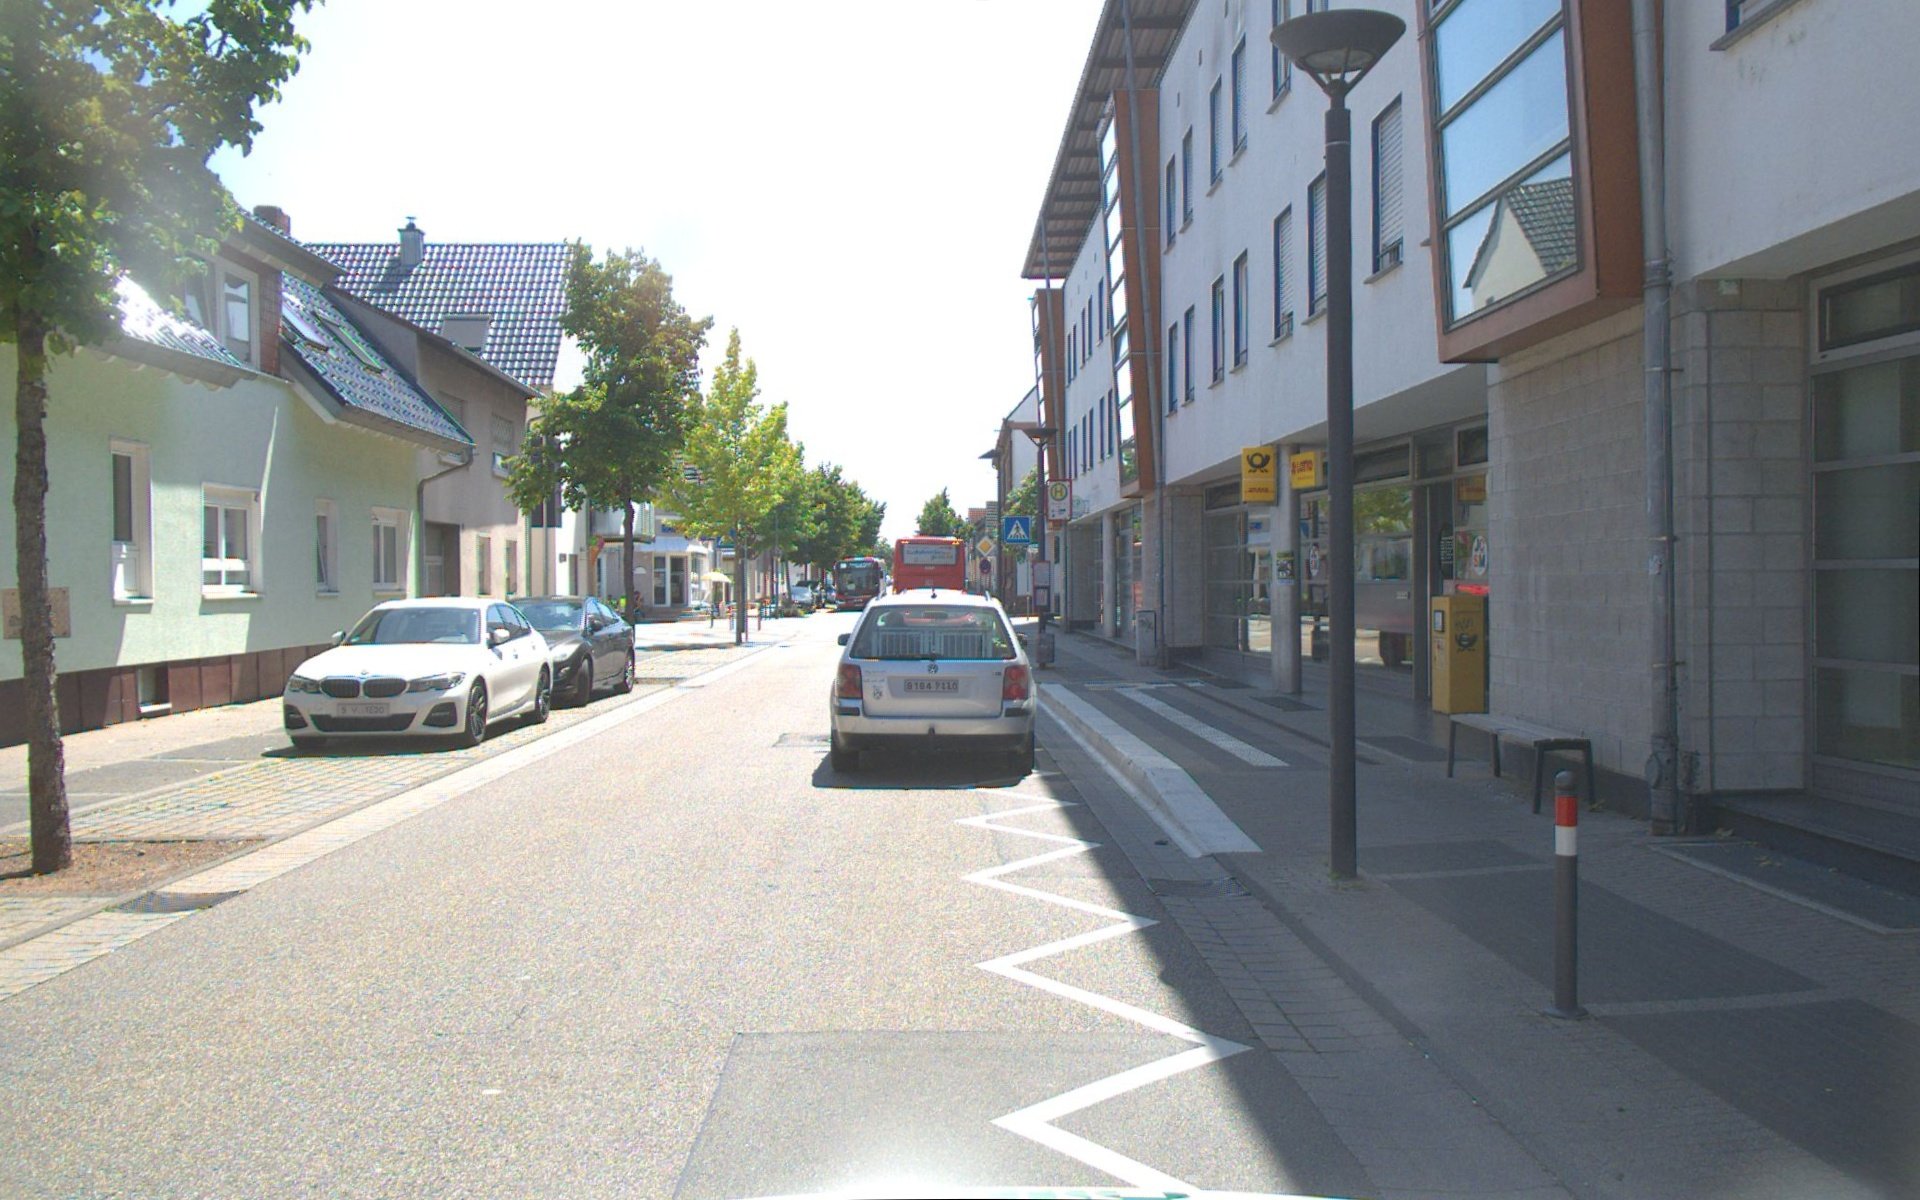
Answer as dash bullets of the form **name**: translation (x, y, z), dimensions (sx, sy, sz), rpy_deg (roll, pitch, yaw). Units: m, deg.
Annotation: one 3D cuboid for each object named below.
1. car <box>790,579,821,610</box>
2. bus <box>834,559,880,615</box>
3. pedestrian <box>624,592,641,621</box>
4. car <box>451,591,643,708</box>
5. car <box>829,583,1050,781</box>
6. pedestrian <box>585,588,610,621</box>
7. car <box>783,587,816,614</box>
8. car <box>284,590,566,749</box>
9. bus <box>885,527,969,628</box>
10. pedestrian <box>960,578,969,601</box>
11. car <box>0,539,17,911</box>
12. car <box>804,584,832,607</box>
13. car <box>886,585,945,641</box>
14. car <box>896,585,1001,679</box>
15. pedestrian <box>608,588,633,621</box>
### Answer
- **car**: translation (-9.656, -0.341, 103.636), dimensions (1.729, 1.870, 3.787), rpy_deg (0, 0, -2)
- **bus**: translation (-6.439, -0.961, 103.496), dimensions (2.616, 3.178, 17.795), rpy_deg (-1, 1, -4)
- **pedestrian**: translation (-13.521, 0.257, 68.276), dimensions (0.610, 1.199, 0.696), rpy_deg (0, 0, -6)
- **car**: translation (-5.693, 0.617, 23.342), dimensions (1.627, 1.462, 4.538), rpy_deg (0, 0, -1)
- **car**: translation (-0.208, 0.615, 14.532), dimensions (1.643, 1.455, 3.678), rpy_deg (2, 0, -2)
- **pedestrian**: translation (-14.747, 0.196, 67.318), dimensions (0.776, 1.311, 0.631), rpy_deg (2, 0, 45)
- **car**: translation (-8.928, -0.003, 92.150), dimensions (1.573, 1.463, 4.063), rpy_deg (0, 0, -2)
- **car**: translation (-5.562, 0.641, 17.804), dimensions (1.685, 1.462, 4.458), rpy_deg (-1, 0, -2)
- **bus**: translation (-1.392, -0.775, 61.674), dimensions (2.685, 3.356, 12.697), rpy_deg (0, 0, -3)
- **pedestrian**: translation (0.331, -0.770, 120.815), dimensions (0.594, 1.696, 0.789), rpy_deg (0, 0, -3)
- **car**: translation (-5.334, 0.619, 5.642), dimensions (1.739, 1.756, 4.518), rpy_deg (-1, 1, -2)
- **car**: translation (-10.200, -0.336, 118.804), dimensions (1.775, 1.586, 3.999), rpy_deg (0, 0, -2)
- **car**: translation (-1.204, 0.338, 45.680), dimensions (1.561, 1.455, 3.679), rpy_deg (1, 0, -1)
- **car**: translation (-0.237, 0.497, 28.309), dimensions (1.643, 1.455, 3.678), rpy_deg (2, 0, -2)
- **pedestrian**: translation (-13.773, 0.174, 67.032), dimensions (0.776, 1.311, 0.631), rpy_deg (2, 0, 45)
